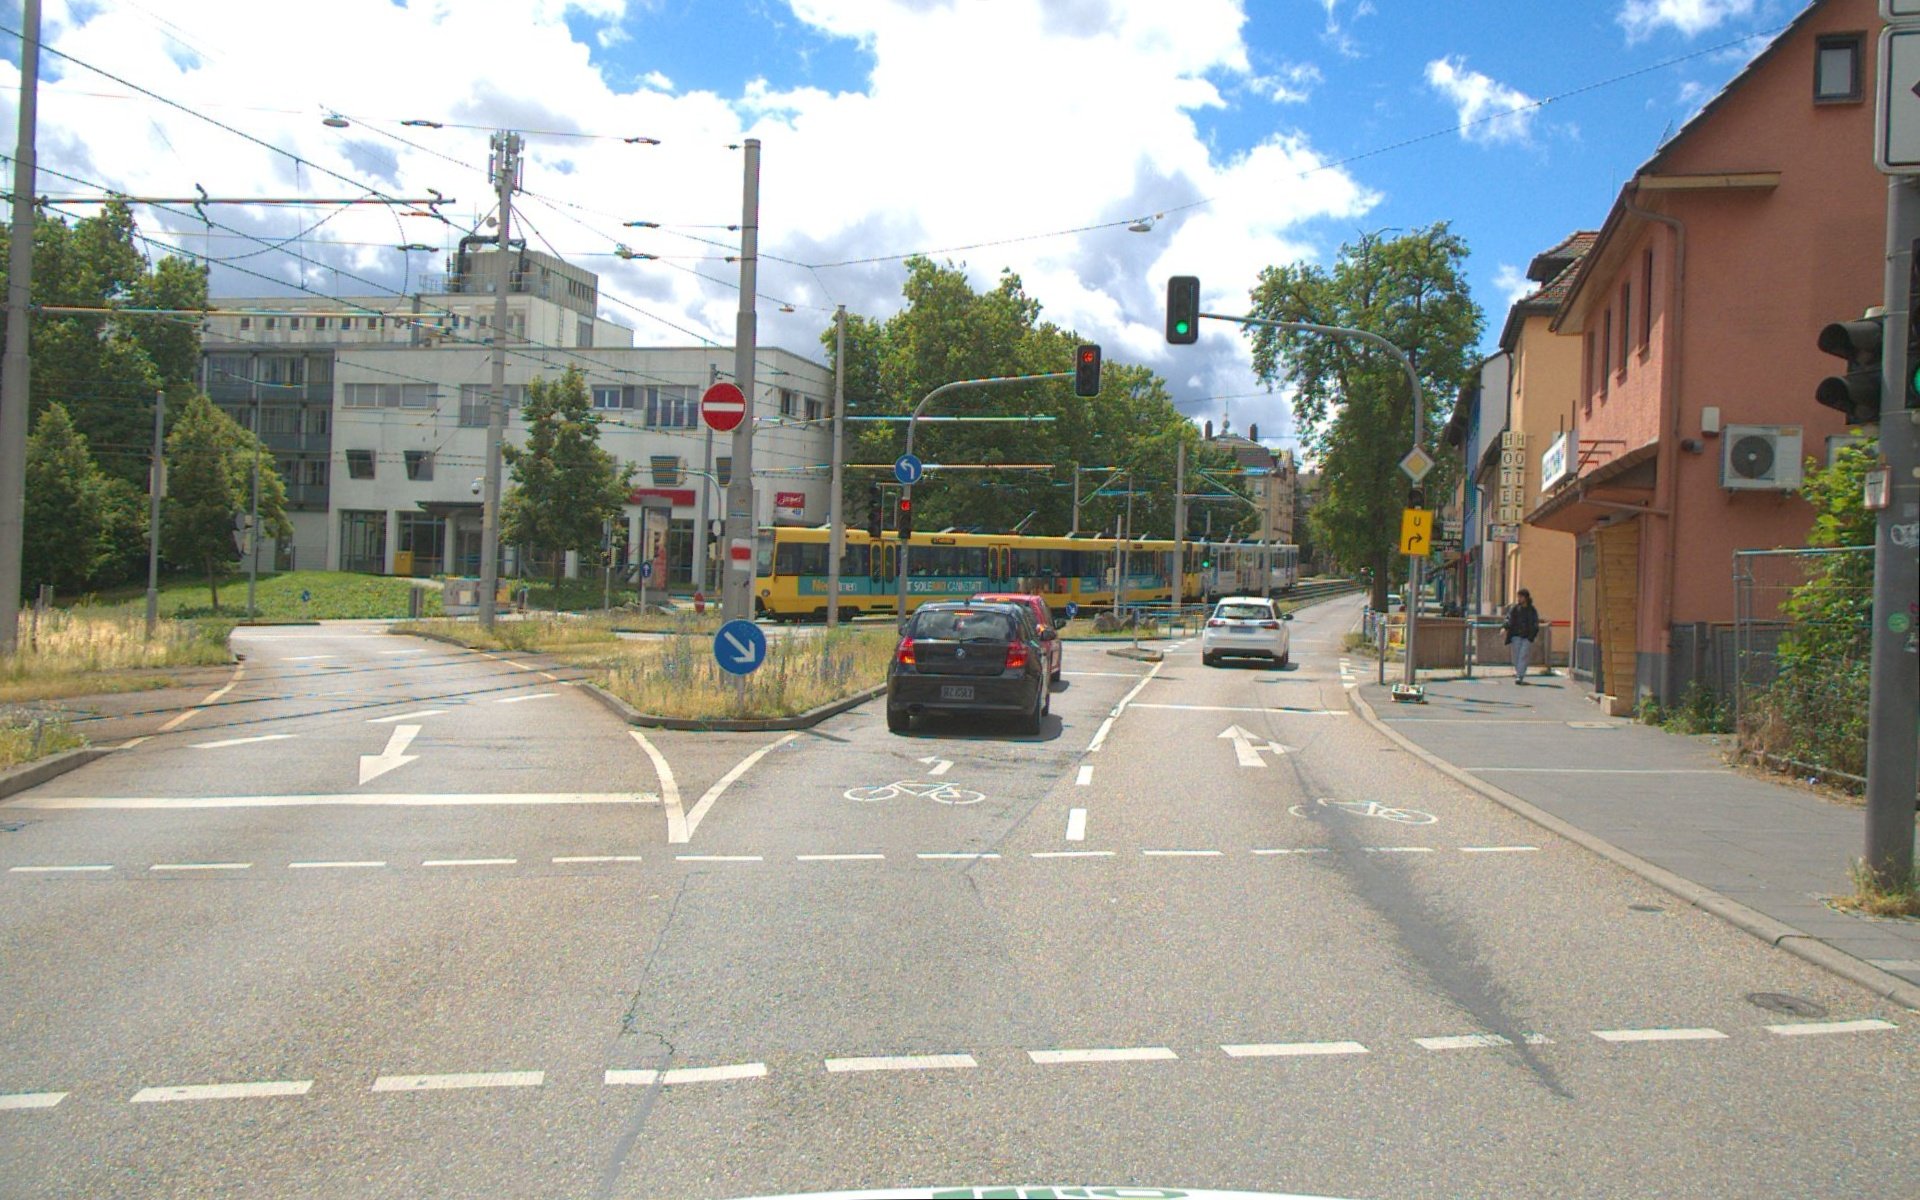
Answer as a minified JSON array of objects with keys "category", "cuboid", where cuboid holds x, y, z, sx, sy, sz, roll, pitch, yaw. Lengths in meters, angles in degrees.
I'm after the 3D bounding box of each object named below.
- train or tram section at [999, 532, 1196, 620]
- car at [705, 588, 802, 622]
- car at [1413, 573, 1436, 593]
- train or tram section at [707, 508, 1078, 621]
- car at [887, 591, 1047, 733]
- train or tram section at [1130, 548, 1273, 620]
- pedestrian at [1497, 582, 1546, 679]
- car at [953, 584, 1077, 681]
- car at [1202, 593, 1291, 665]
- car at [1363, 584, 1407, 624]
[{"category":"train or tram section","cuboid":[7.427,-0.931,82.960,3.673,3.896,20.141,0,-1,23]},{"category":"car","cuboid":[-8.988,0.219,72.260,1.856,1.442,3.974,0,-1,43]},{"category":"car","cuboid":[45.421,-1.656,161.729,2.078,1.890,3.740,1,1,16]},{"category":"train or tram section","cuboid":[-2.047,-1.149,67.242,3.690,3.988,18.804,0,-1,39]},{"category":"car","cuboid":[0.079,0.674,19.267,1.666,1.477,4.000,0,-1,0]},{"category":"train or tram section","cuboid":[15.131,-0.765,101.039,3.673,3.947,20.629,0,-1,23]},{"category":"pedestrian","cuboid":[9.866,0.529,29.068,0.748,1.671,0.778,0,1,14]},{"category":"car","cuboid":[0.985,0.523,27.585,1.590,1.499,4.003,0,-1,9]},{"category":"car","cuboid":[6.470,0.613,37.055,1.776,1.494,4.003,1,0,12]},{"category":"car","cuboid":[18.094,0.187,70.300,1.749,1.624,4.002,0,-1,16]}]
